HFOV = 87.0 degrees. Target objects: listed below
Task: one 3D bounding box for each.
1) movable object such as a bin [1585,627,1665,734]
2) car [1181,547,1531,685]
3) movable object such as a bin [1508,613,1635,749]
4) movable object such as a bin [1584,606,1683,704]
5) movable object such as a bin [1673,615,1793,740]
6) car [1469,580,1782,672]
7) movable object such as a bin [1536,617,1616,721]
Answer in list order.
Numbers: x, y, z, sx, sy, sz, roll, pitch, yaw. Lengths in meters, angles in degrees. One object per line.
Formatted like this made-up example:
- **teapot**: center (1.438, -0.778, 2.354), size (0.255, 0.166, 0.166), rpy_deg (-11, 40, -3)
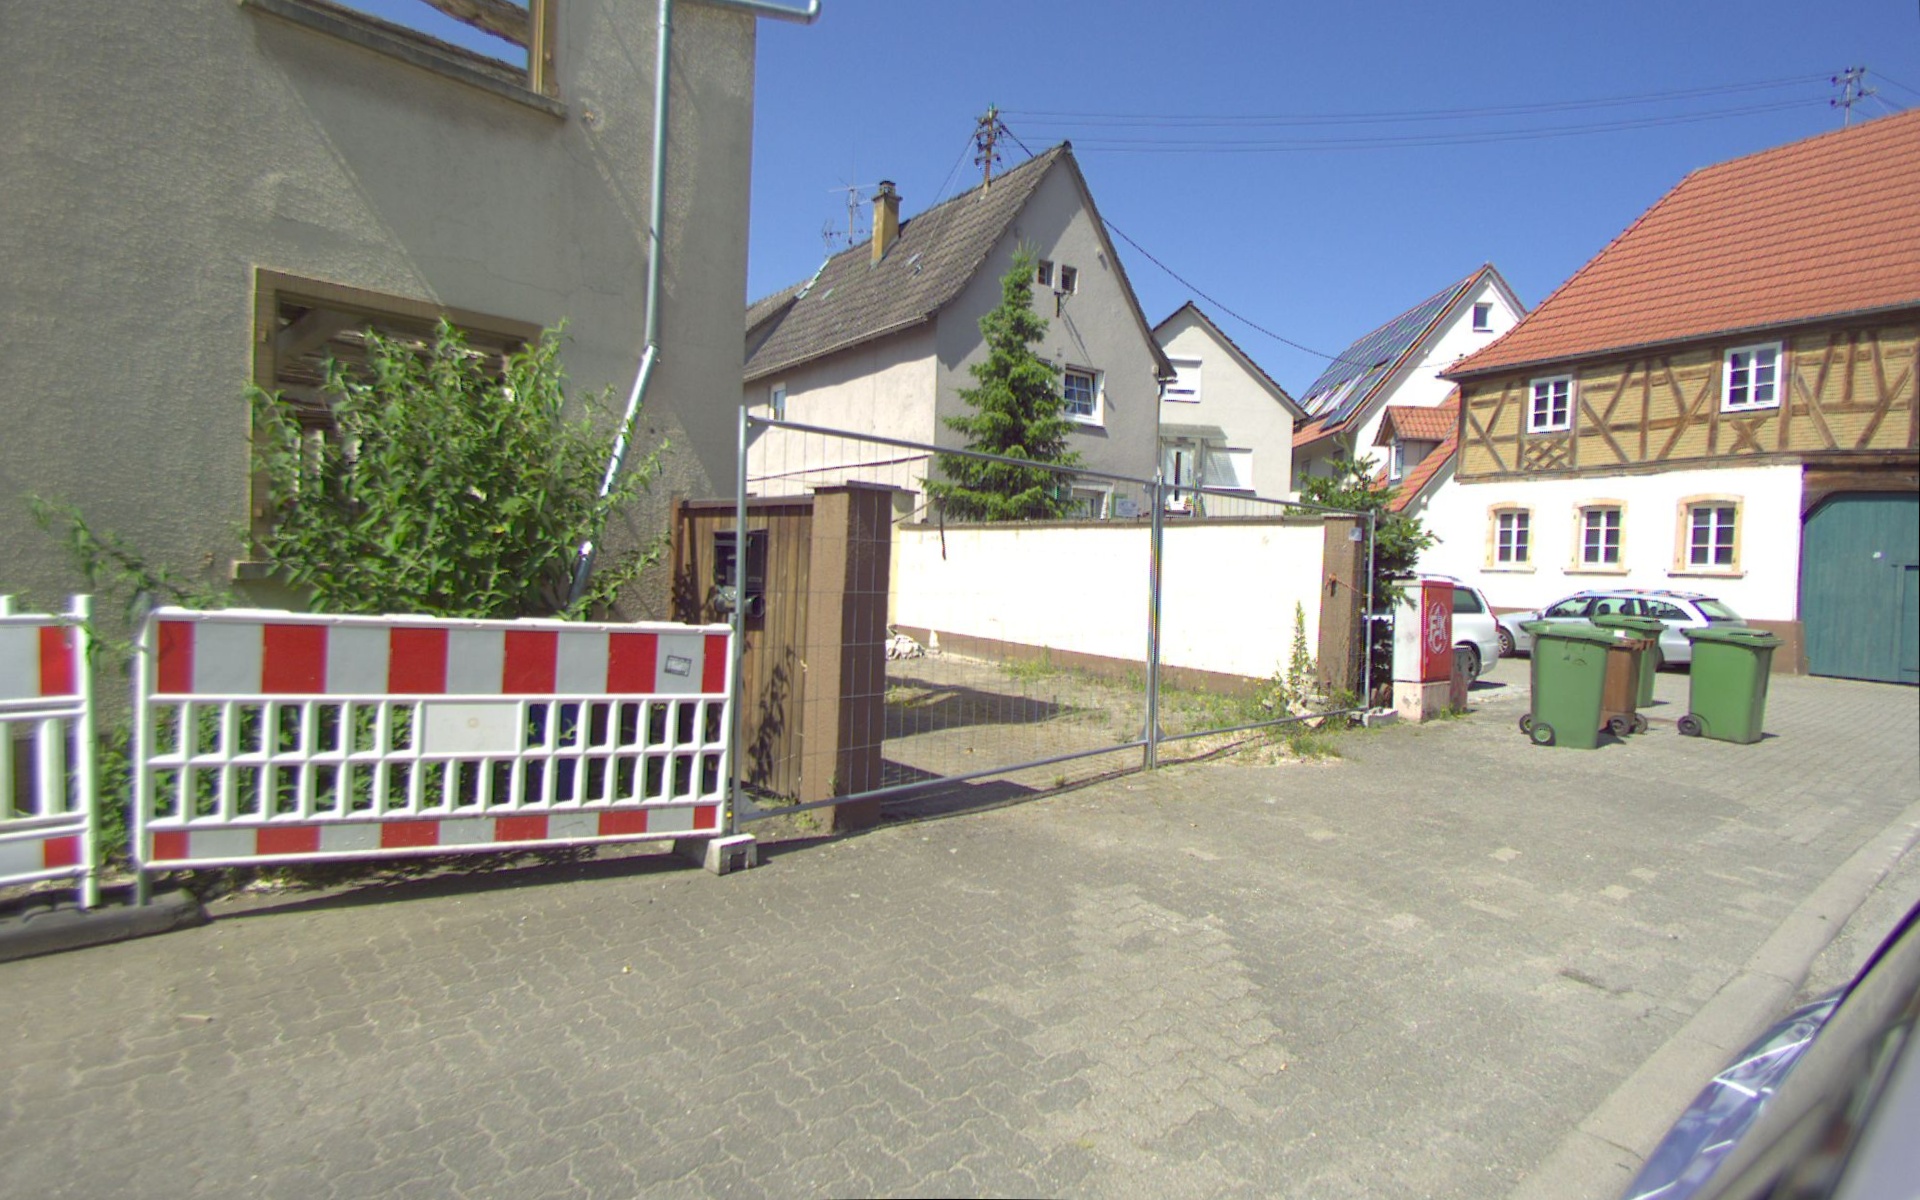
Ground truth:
- **movable object such as a bin**: center (6.411, 0.764, 9.760), size (0.453, 0.961, 0.446), rpy_deg (1, 2, -32)
- **car**: center (5.218, 0.217, 13.321), size (4.207, 1.546, 1.821), rpy_deg (2, 3, -25)
- **movable object such as a bin**: center (5.412, 0.692, 9.005), size (0.751, 1.085, 0.669), rpy_deg (4, 2, 17)
- **movable object such as a bin**: center (8.159, 0.649, 12.268), size (0.741, 1.094, 0.722), rpy_deg (2, 2, -36)
- **movable object such as a bin**: center (7.483, 0.732, 9.806), size (0.625, 1.105, 0.690), rpy_deg (2, 2, -32)
- **car**: center (12.929, 0.436, 20.035), size (1.960, 1.470, 4.775), rpy_deg (2, 2, -29)
- **movable object such as a bin**: center (6.170, 0.680, 10.143), size (0.486, 0.982, 0.467), rpy_deg (2, 2, -33)
